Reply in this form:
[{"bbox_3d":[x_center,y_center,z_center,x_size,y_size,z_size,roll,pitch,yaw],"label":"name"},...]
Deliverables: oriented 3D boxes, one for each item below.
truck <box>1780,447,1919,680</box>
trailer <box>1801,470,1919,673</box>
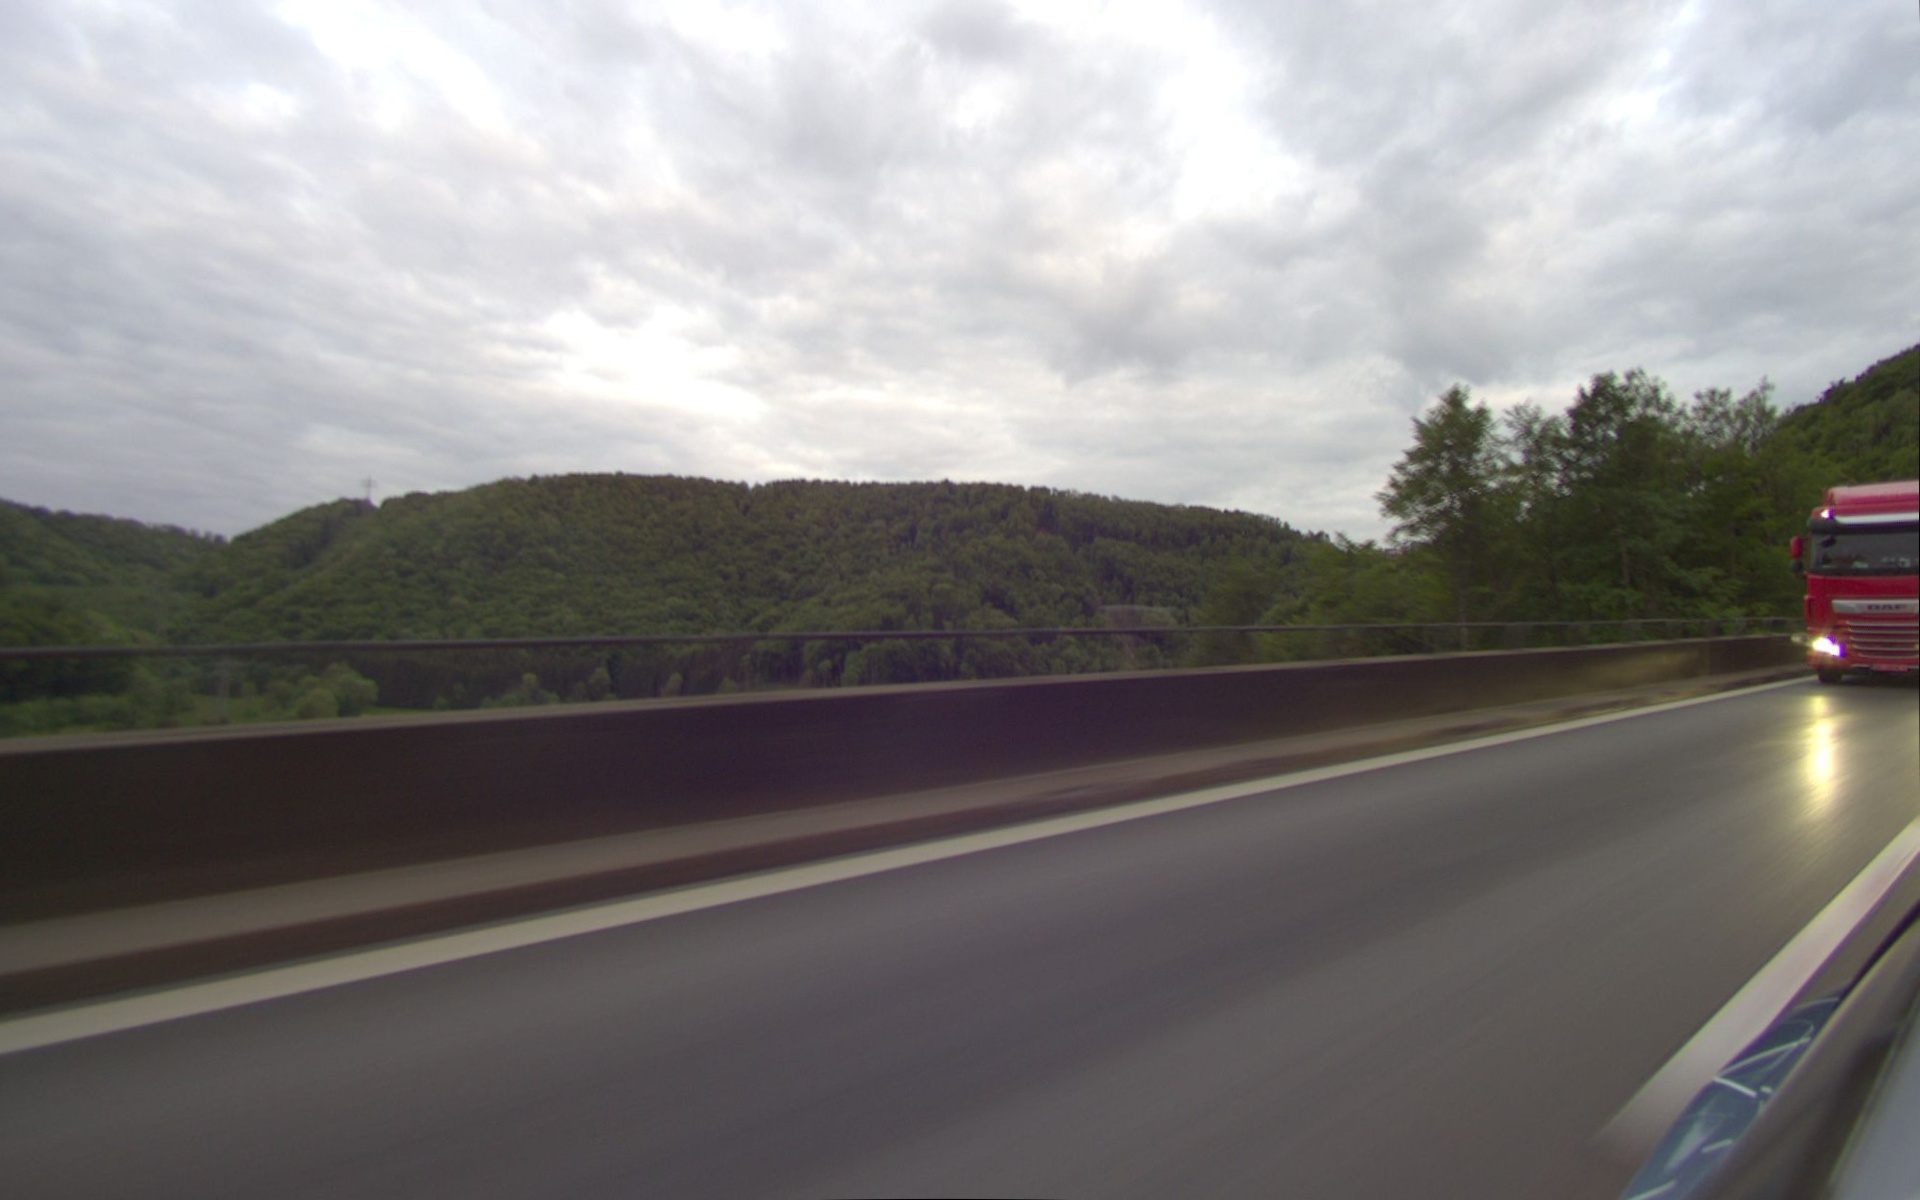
[{"bbox_3d":[19.375,-0.664,20.625,6.333,4.197,3.075,0,0,-41],"label":"truck"},{"bbox_3d":[24.217,-0.518,24.699,13.963,4.022,3.102,0,-2,-40],"label":"trailer"}]
